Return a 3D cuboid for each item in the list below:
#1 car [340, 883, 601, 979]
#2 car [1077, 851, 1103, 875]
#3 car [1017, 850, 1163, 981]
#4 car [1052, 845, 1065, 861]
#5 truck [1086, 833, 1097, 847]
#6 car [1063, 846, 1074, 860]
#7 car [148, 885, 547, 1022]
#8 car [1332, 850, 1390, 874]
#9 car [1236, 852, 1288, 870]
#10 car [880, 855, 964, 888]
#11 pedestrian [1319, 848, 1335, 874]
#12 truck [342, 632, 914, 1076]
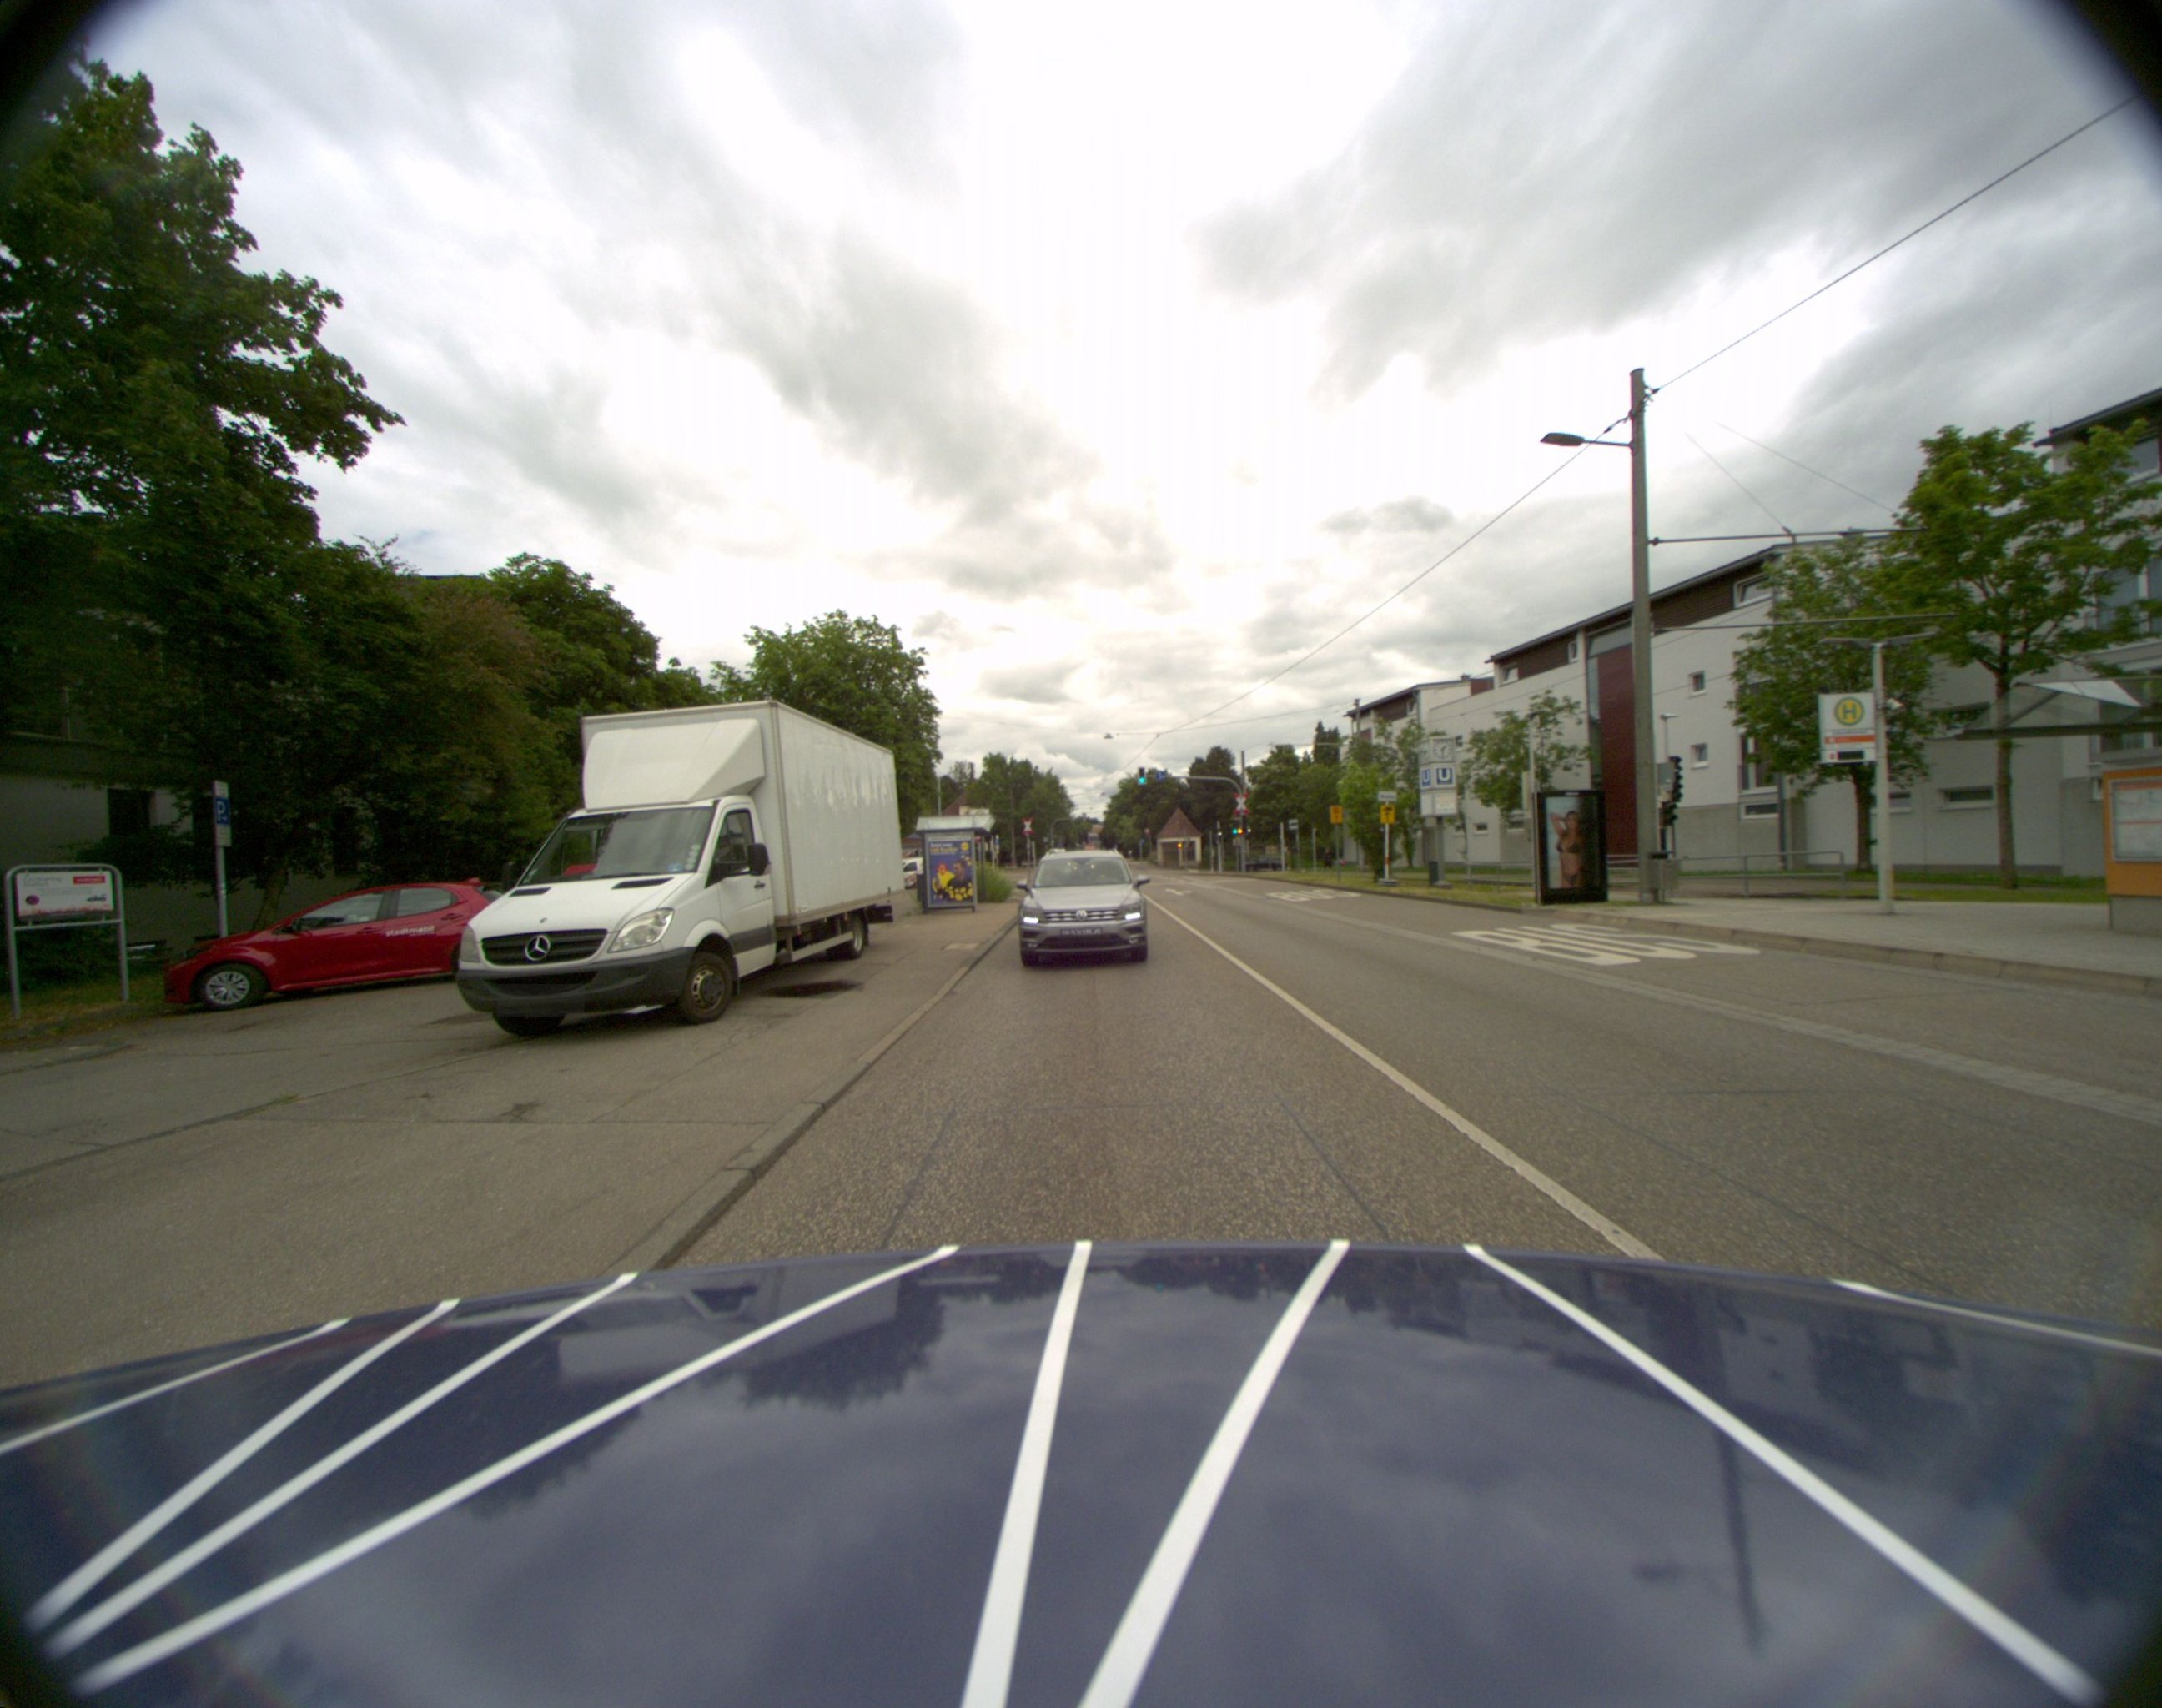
[{"bbox_3d":[-12.053,1.448,15.366,3.809,1.465,1.794,-3,1,-30],"label":"car"},{"bbox_3d":[0.705,0.689,60.046,1.811,1.736,3.999,-2,0,-2],"label":"car"},{"bbox_3d":[-0.007,0.805,12.390,1.835,1.610,4.486,-4,1,-3],"label":"car"},{"bbox_3d":[-3.964,-0.243,131.825,2.095,2.589,6.679,-2,1,-2],"label":"car"},{"bbox_3d":[2.781,-3.651,201.777,2.776,3.697,8.466,0,1,-1],"label":"truck"},{"bbox_3d":[-2.452,-0.264,146.718,2.046,2.588,5.965,-2,1,0],"label":"car"},{"bbox_3d":[-10.085,1.287,10.873,3.734,1.437,1.605,-3,0,-26],"label":"car"},{"bbox_3d":[25.441,0.728,69.090,4.469,2.002,1.999,2,0,-6],"label":"car"},{"bbox_3d":[17.477,0.665,73.405,4.488,1.660,1.964,1,0,-7],"label":"car"},{"bbox_3d":[-9.350,0.989,45.021,1.846,1.738,4.704,-2,0,38],"label":"car"},{"bbox_3d":[15.763,0.446,48.685,0.677,1.634,0.819,-1,-1,-6],"label":"pedestrian"},{"bbox_3d":[-4.523,-0.001,10.055,2.579,3.504,7.810,-2,0,2],"label":"truck"}]
